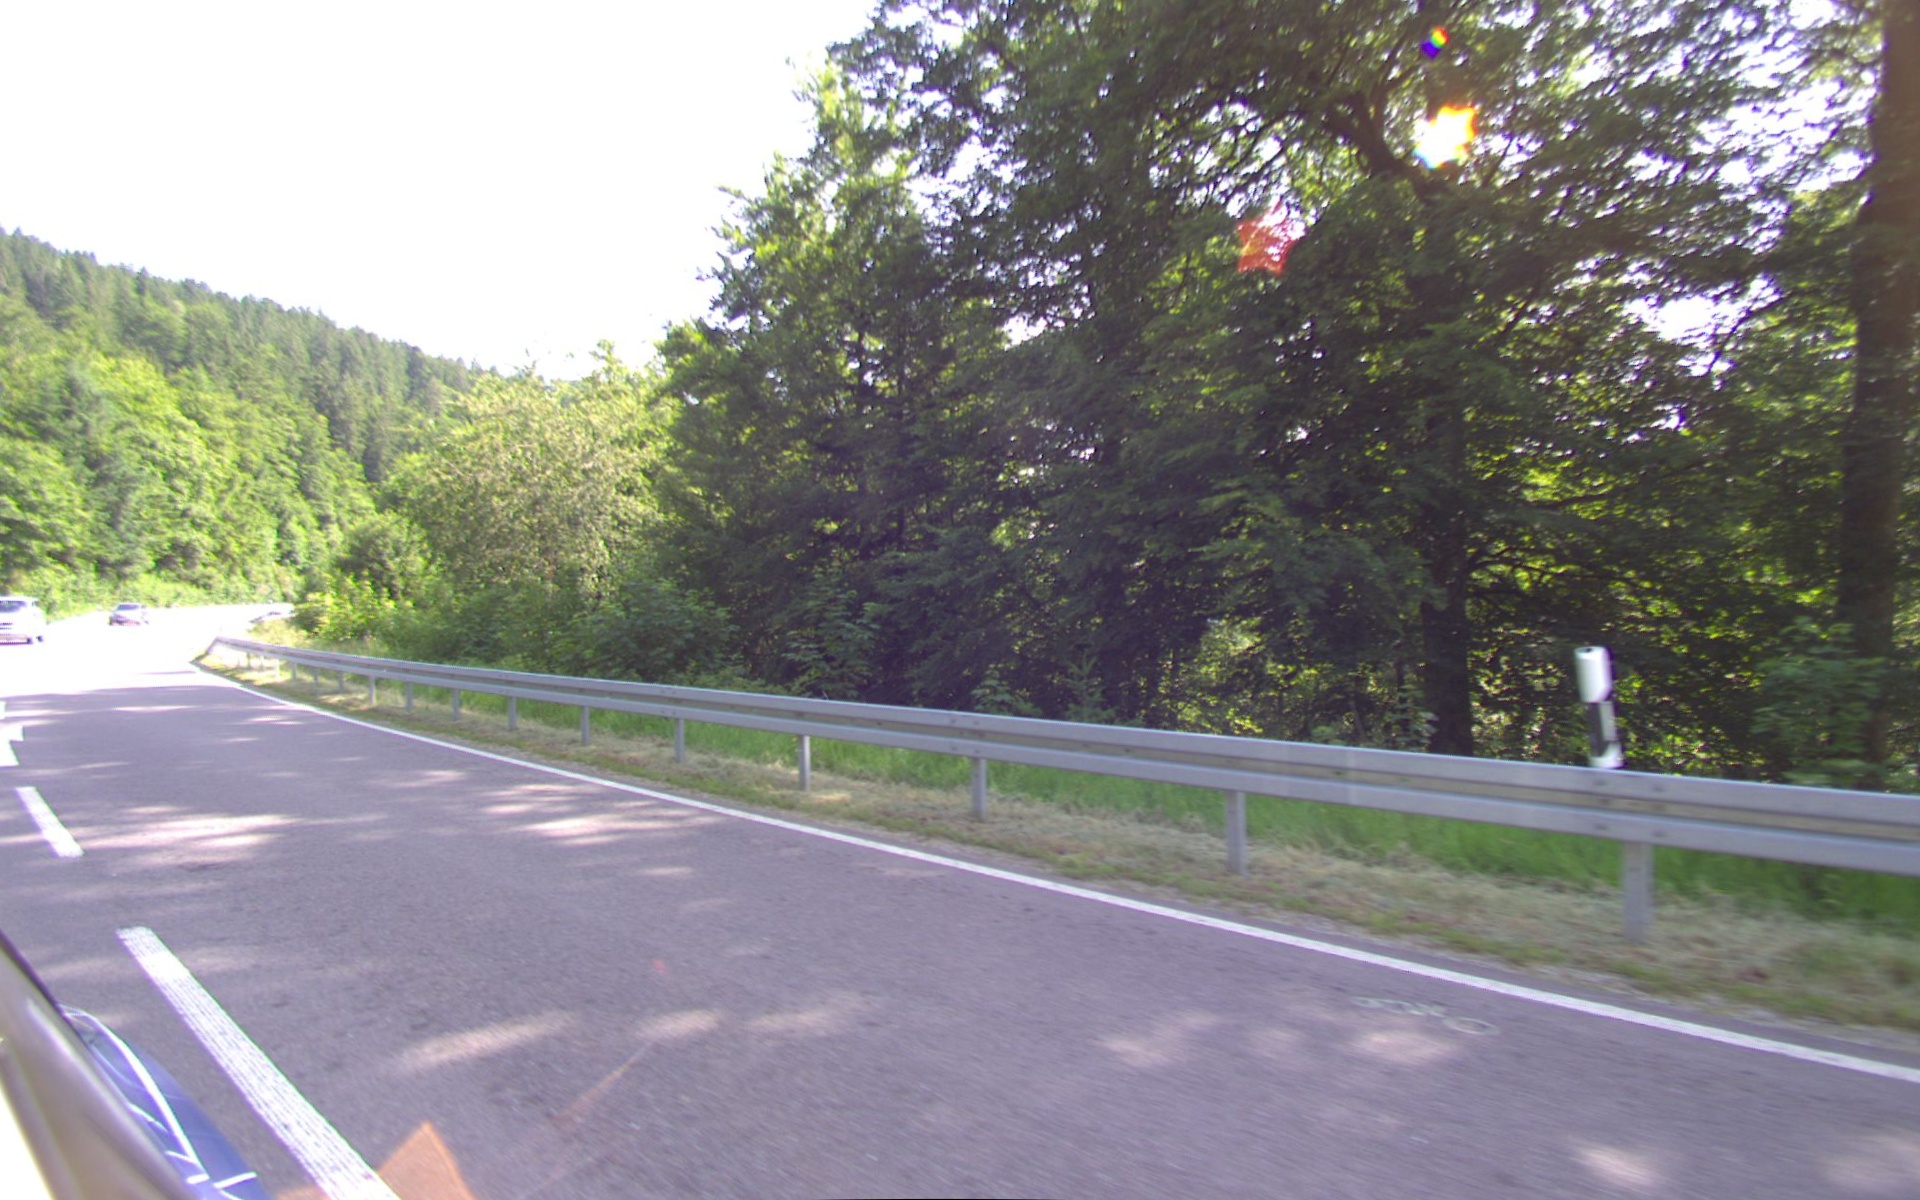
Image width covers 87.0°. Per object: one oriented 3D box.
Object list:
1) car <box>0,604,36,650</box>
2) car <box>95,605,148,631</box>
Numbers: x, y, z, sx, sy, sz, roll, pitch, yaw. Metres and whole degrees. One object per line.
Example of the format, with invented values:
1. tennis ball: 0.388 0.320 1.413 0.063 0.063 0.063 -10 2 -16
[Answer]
1. car: -38.565 1.059 40.859 1.628 1.772 3.801 1 0 -40
2. car: -55.379 1.156 66.928 1.966 1.655 4.012 -1 0 -29
